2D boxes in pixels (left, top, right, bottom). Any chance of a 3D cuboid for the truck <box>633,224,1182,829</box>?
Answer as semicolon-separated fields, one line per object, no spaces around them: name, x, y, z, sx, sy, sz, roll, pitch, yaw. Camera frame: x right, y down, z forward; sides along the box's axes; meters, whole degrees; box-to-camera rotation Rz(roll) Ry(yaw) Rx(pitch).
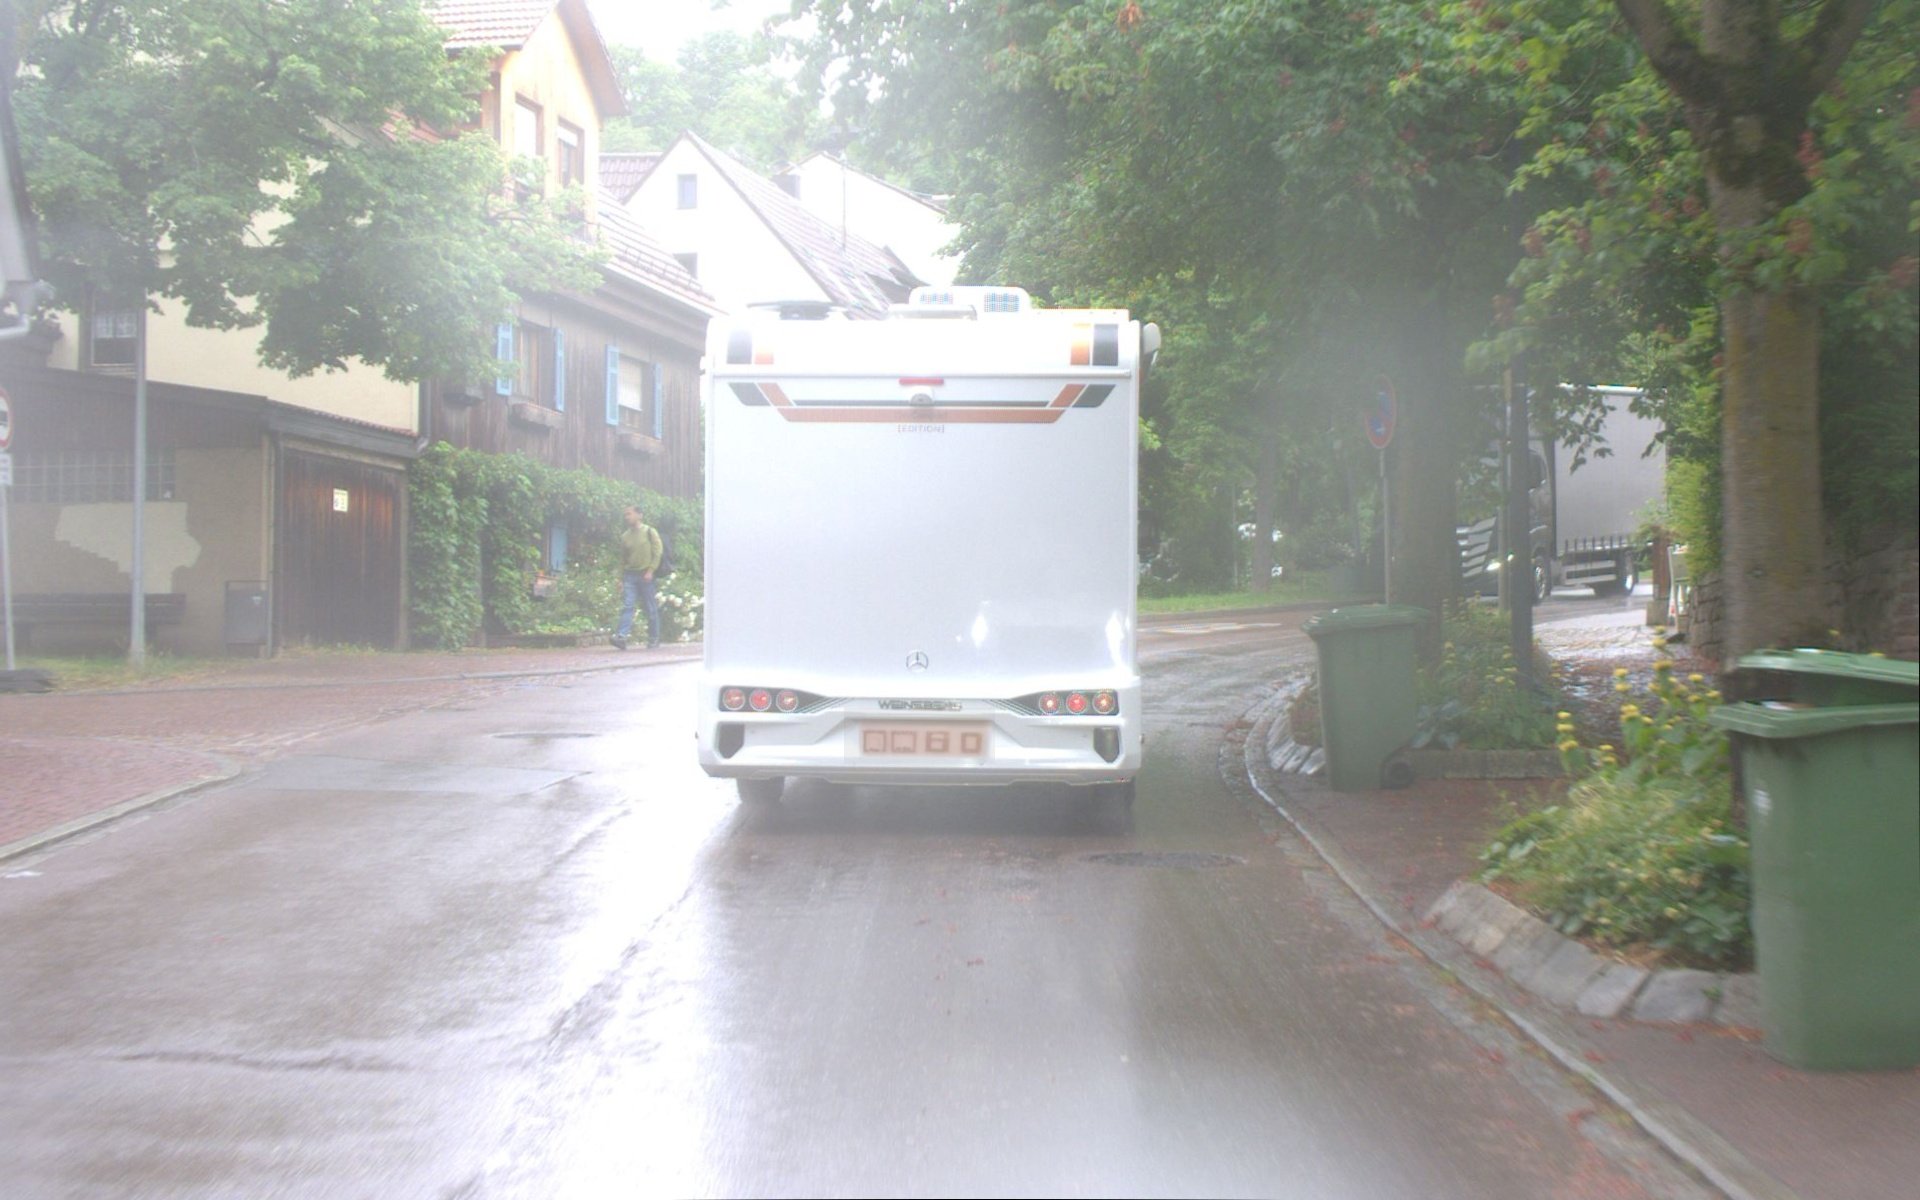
truck;-0.192;-0.393;20.110;2.694;2.975;6.236;0;0;1

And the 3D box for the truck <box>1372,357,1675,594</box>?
truck;10.884;-2.286;65.384;2.842;4.152;9.962;1;1;26

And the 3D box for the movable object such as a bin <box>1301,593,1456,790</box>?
movable object such as a bin;2.446;0.525;20.182;0.769;1.103;0.884;-2;1;0

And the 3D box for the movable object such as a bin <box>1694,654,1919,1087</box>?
movable object such as a bin;2.501;0.733;9.584;0.723;1.139;0.703;0;1;-3

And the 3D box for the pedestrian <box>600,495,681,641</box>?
pedestrian;-4.113;-0.409;44.321;0.794;1.861;0.916;0;0;13
